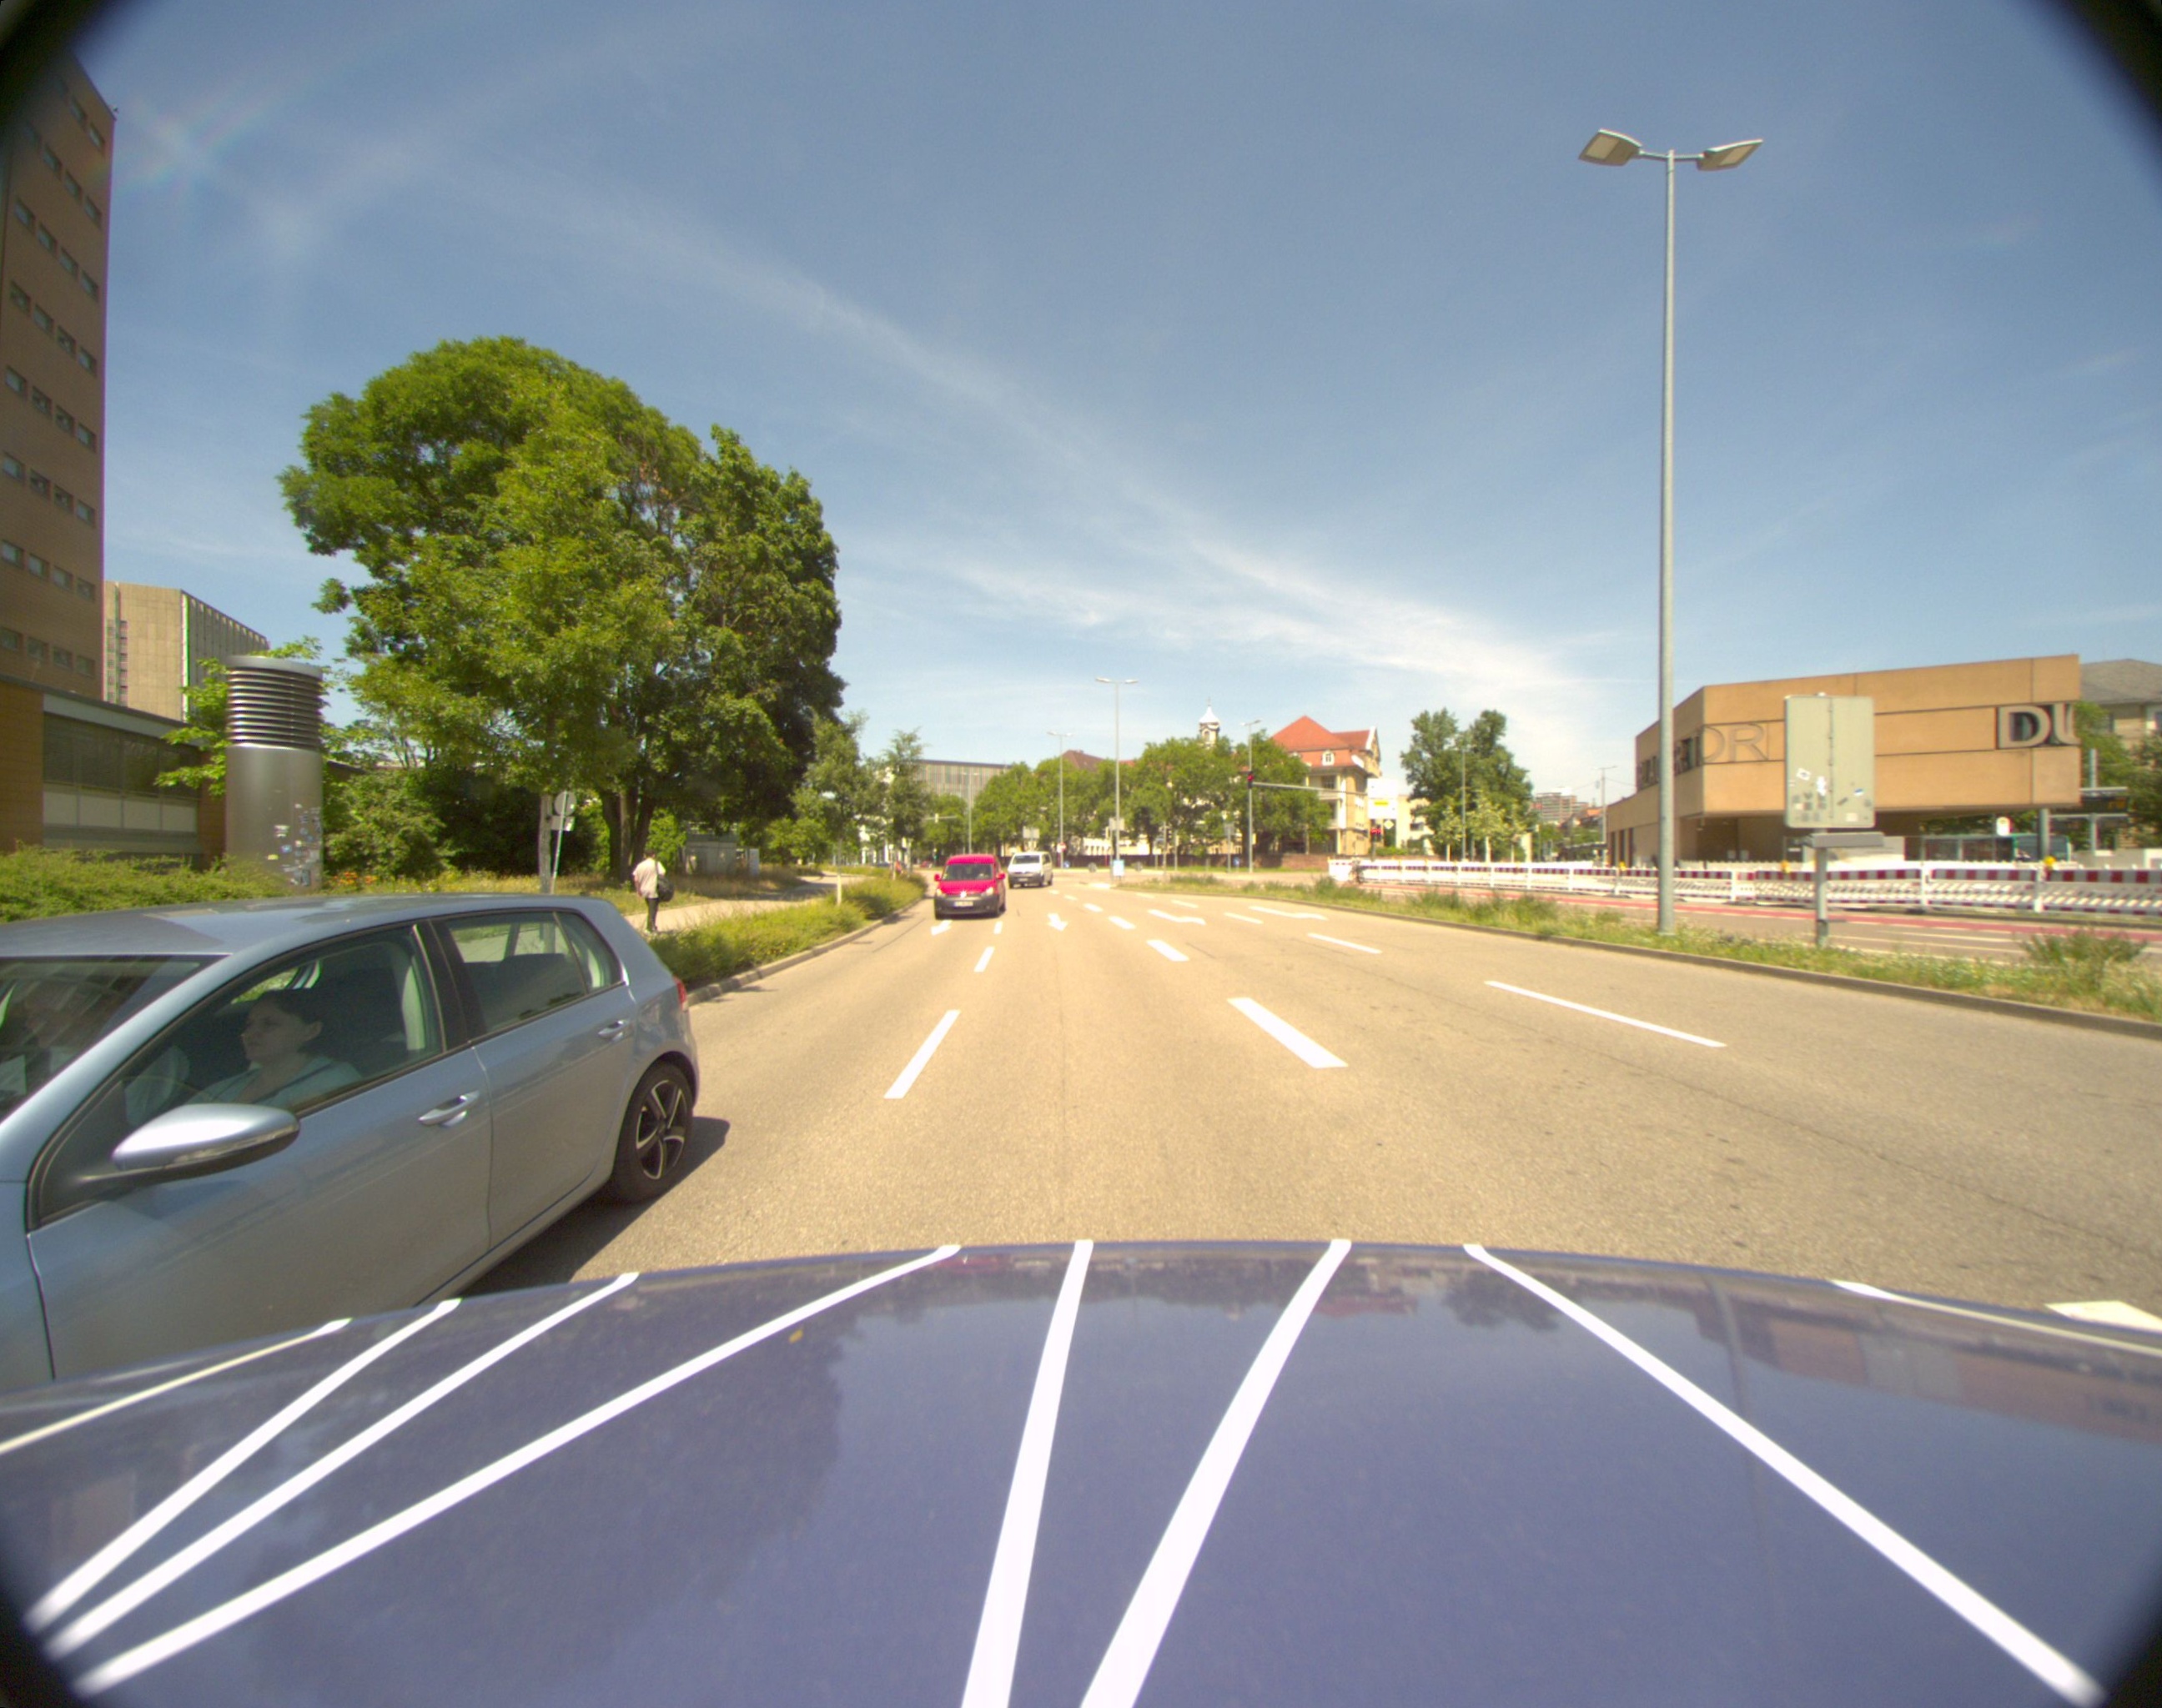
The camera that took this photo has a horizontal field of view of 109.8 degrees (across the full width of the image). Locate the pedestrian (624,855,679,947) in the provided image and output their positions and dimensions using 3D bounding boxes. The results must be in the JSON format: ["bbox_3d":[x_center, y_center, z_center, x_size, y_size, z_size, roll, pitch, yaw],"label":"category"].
[{"bbox_3d":[-8.536,0.923,15.126,0.728,1.787,0.614,0,0,1],"label":"pedestrian"}]

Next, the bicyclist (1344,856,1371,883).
[{"bbox_3d":[14.148,0.772,38.900,0.587,1.348,1.438,-3,1,-15],"label":"bicyclist"}]

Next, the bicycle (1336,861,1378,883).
[{"bbox_3d":[14.091,0.905,38.826,0.879,1.066,2.229,-2,1,-15],"label":"bicycle"}]

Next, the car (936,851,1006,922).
[{"bbox_3d":[-3.181,0.881,22.675,1.656,1.848,4.544,-1,0,-4],"label":"car"}]

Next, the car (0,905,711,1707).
[{"bbox_3d":[-2.758,1.007,1.948,1.655,1.450,4.003,-2,0,-1],"label":"car"}]

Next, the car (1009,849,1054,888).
[{"bbox_3d":[-2.699,0.765,42.539,1.971,1.958,4.849,-2,0,3],"label":"car"}]
